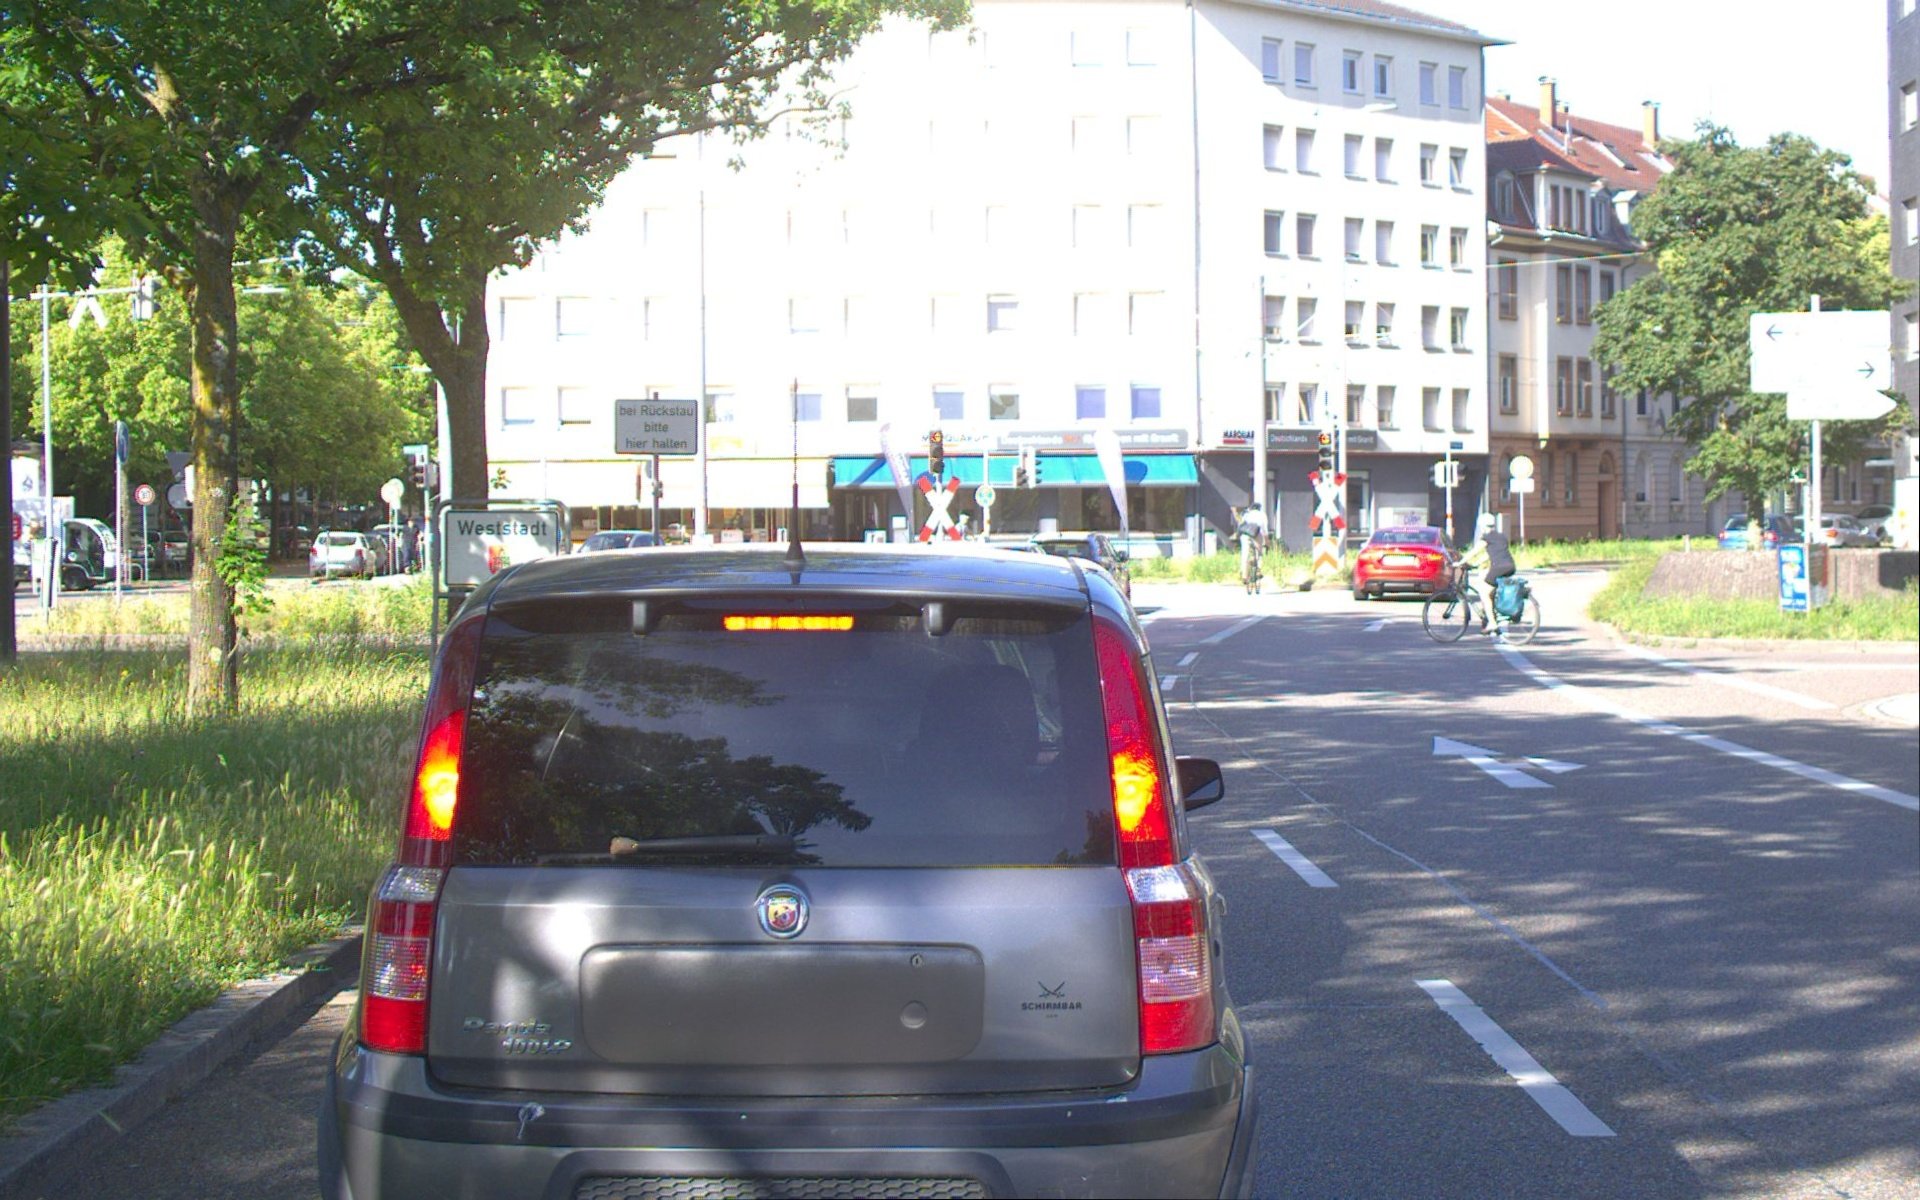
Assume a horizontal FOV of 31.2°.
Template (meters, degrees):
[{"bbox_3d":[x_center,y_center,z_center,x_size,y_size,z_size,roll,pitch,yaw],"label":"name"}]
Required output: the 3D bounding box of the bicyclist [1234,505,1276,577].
[{"bbox_3d":[5.939,-1.194,69.296,0.741,1.433,0.845,1,0,-1],"label":"bicyclist"}]

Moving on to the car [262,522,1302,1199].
[{"bbox_3d":[-0.298,0.597,7.425,1.628,1.503,4.000,-1,1,-1],"label":"car"}]

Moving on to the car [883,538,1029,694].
[{"bbox_3d":[-0.060,0.123,33.870,1.356,1.444,3.266,-1,1,-1],"label":"car"}]

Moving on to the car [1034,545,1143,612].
[{"bbox_3d":[2.170,-0.368,57.677,1.143,1.060,2.719,0,1,17],"label":"car"}]

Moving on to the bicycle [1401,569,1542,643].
[{"bbox_3d":[6.764,0.069,45.523,1.793,0.942,0.559,1,2,38],"label":"bicycle"}]

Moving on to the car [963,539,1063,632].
[{"bbox_3d":[0.748,-0.229,49.608,1.356,1.277,2.876,0,1,-1],"label":"car"}]

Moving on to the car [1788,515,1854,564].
[{"bbox_3d":[23.556,-1.663,94.025,1.528,1.310,3.285,0,1,18],"label":"car"}]

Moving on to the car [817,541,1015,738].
[{"bbox_3d":[-0.346,0.268,27.293,1.463,1.420,3.381,0,2,-1],"label":"car"}]

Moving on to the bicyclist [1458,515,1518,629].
[{"bbox_3d":[6.966,-0.377,45.343,0.585,1.488,0.549,1,2,39],"label":"bicyclist"}]

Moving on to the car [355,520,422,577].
[{"bbox_3d":[-20.517,-1.862,123.590,1.993,2.007,4.001,-1,1,-4],"label":"car"}]

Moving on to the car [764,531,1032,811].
[{"bbox_3d":[-0.359,0.356,20.686,1.463,1.503,3.505,0,2,-1],"label":"car"}]

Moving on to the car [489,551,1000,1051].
[{"bbox_3d":[-0.641,0.559,11.647,1.463,1.396,3.393,0,1,-1],"label":"car"}]

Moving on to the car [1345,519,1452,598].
[{"bbox_3d":[8.381,-0.815,65.421,1.888,1.423,4.385,0,1,9],"label":"car"}]

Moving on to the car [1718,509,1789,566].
[{"bbox_3d":[20.880,-1.659,90.397,1.683,1.444,3.569,0,1,15],"label":"car"}]

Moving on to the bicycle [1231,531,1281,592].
[{"bbox_3d":[5.963,-0.772,69.321,0.708,1.194,2.520,1,1,-2],"label":"bicycle"}]
